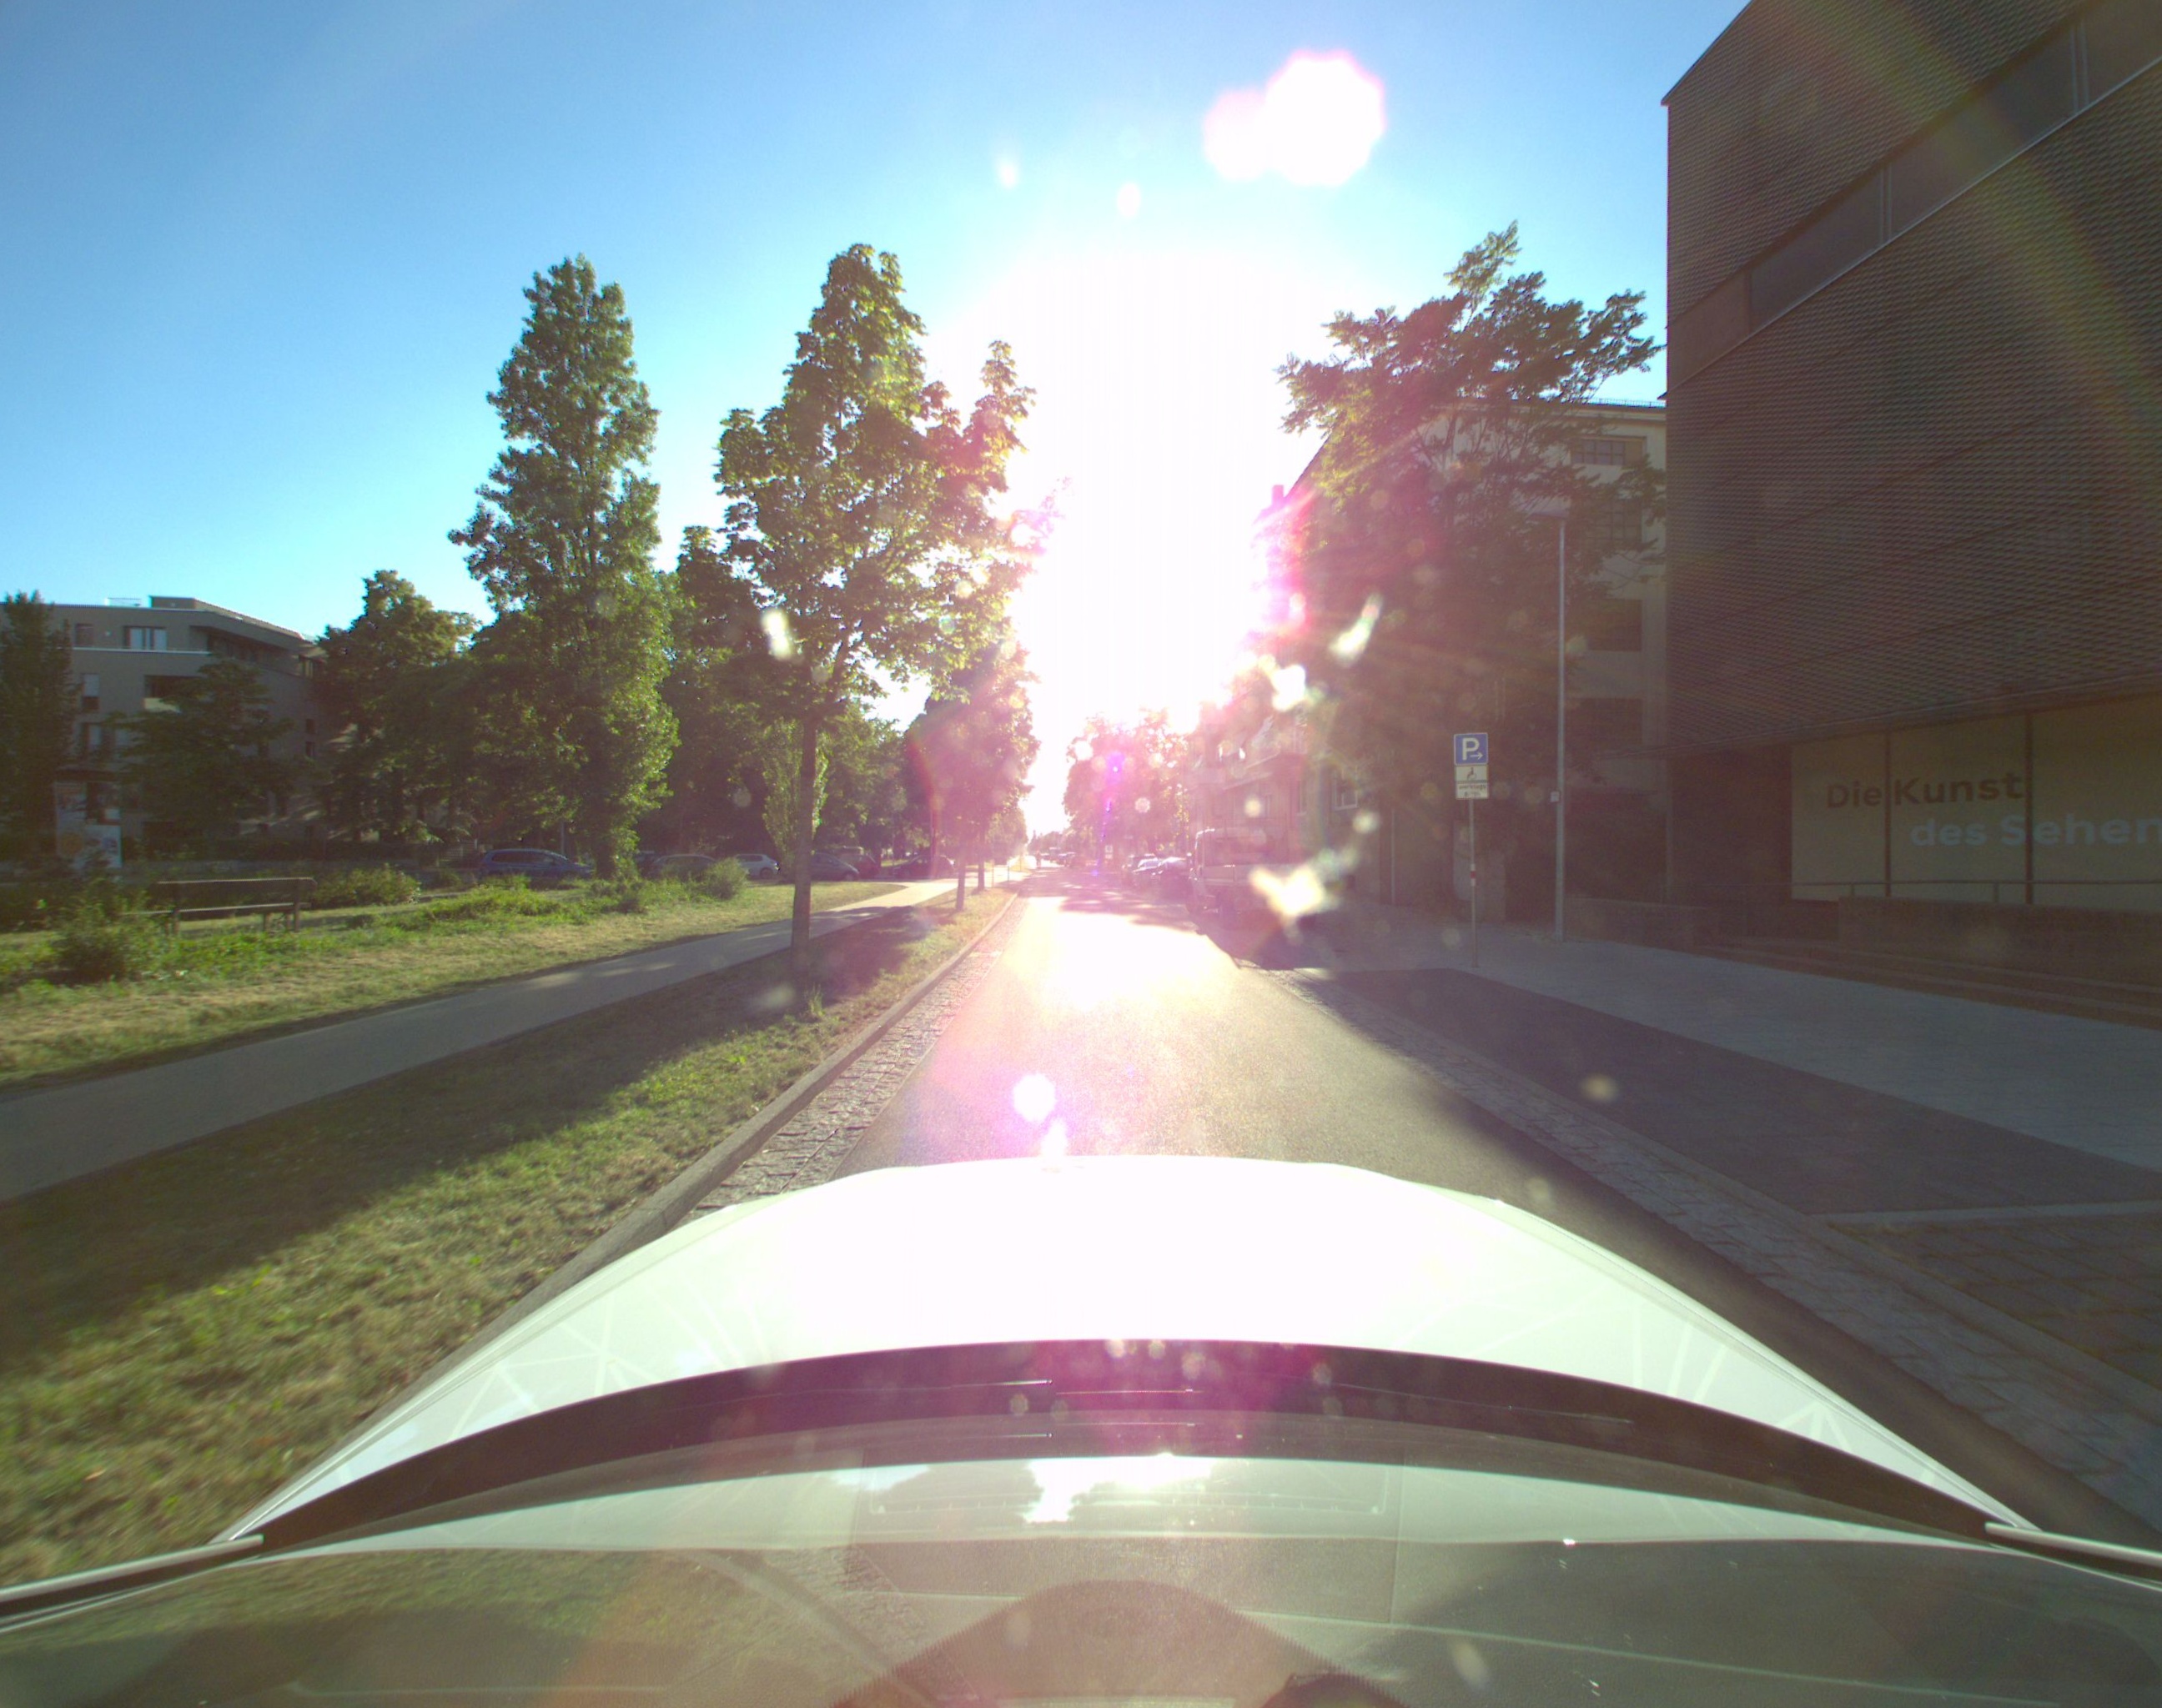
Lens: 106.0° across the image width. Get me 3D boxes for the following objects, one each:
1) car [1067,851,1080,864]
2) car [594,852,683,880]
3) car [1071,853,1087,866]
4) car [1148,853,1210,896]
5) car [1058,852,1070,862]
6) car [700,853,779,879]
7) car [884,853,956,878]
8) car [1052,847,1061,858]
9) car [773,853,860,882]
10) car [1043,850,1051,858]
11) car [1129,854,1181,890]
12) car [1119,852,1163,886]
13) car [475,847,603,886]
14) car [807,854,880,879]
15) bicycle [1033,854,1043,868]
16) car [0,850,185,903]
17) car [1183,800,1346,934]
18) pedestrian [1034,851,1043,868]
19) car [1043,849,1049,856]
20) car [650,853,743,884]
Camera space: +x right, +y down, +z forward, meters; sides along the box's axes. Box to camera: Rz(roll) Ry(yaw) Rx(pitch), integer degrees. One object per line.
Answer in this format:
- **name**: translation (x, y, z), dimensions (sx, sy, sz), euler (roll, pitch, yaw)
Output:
- **car**: translation (-1.013, 0.408, 108.068), dimensions (1.789, 1.724, 3.998), euler (0, 0, -1)
- **car**: translation (-23.625, 0.630, 43.621), dimensions (4.005, 1.420, 1.758), euler (0, 0, -24)
- **car**: translation (-0.203, 0.606, 93.946), dimensions (1.787, 1.510, 4.001), euler (0, 0, 1)
- **car**: translation (3.575, 0.717, 30.123), dimensions (1.687, 1.440, 3.547), euler (-1, 0, -3)
- **car**: translation (-2.543, 0.478, 123.105), dimensions (1.789, 1.510, 3.998), euler (0, 0, -1)
- **car**: translation (-19.104, 0.645, 45.600), dimensions (4.005, 1.420, 1.758), euler (0, 0, -24)
- **car**: translation (-9.908, 0.686, 50.208), dimensions (4.011, 1.420, 1.755), euler (0, 0, -29)
- **car**: translation (-4.855, -0.289, 160.335), dimensions (1.789, 1.999, 3.998), euler (0, 0, -1)
- **car**: translation (-13.600, 0.676, 41.891), dimensions (4.010, 1.420, 1.756), euler (0, 0, -28)
- **car**: translation (-8.429, -0.108, 201.884), dimensions (1.988, 1.969, 3.997), euler (1, 0, -2)
- **car**: translation (3.174, 0.739, 35.629), dimensions (1.687, 1.440, 4.099), euler (-1, 0, -3)
- **car**: translation (2.973, 0.710, 41.057), dimensions (1.687, 1.565, 4.099), euler (-1, 0, -3)
- **car**: translation (-24.388, 0.544, 36.846), dimensions (4.549, 1.686, 1.758), euler (0, 0, -23)
- **car**: translation (-14.077, 0.704, 48.248), dimensions (3.932, 1.420, 1.757), euler (0, 0, -26)
- **bicycle**: translation (-3.850, 0.635, 73.402), dimensions (0.686, 1.202, 2.344), euler (0, 0, 1)
- **car**: translation (-23.733, 0.478, 19.260), dimensions (1.521, 1.160, 3.101), euler (0, 0, 5)
- **car**: translation (3.950, 0.228, 18.917), dimensions (2.205, 2.530, 6.144), euler (-2, 0, -1)
- **pedestrian**: translation (-3.822, 0.490, 73.454), dimensions (0.686, 1.434, 1.025), euler (0, 0, 1)
- **car**: translation (-10.879, -0.466, 253.771), dimensions (1.988, 1.969, 3.997), euler (1, 0, -2)
- **car**: translation (-18.583, 0.664, 39.448), dimensions (4.008, 1.420, 1.756), euler (0, 0, -26)
